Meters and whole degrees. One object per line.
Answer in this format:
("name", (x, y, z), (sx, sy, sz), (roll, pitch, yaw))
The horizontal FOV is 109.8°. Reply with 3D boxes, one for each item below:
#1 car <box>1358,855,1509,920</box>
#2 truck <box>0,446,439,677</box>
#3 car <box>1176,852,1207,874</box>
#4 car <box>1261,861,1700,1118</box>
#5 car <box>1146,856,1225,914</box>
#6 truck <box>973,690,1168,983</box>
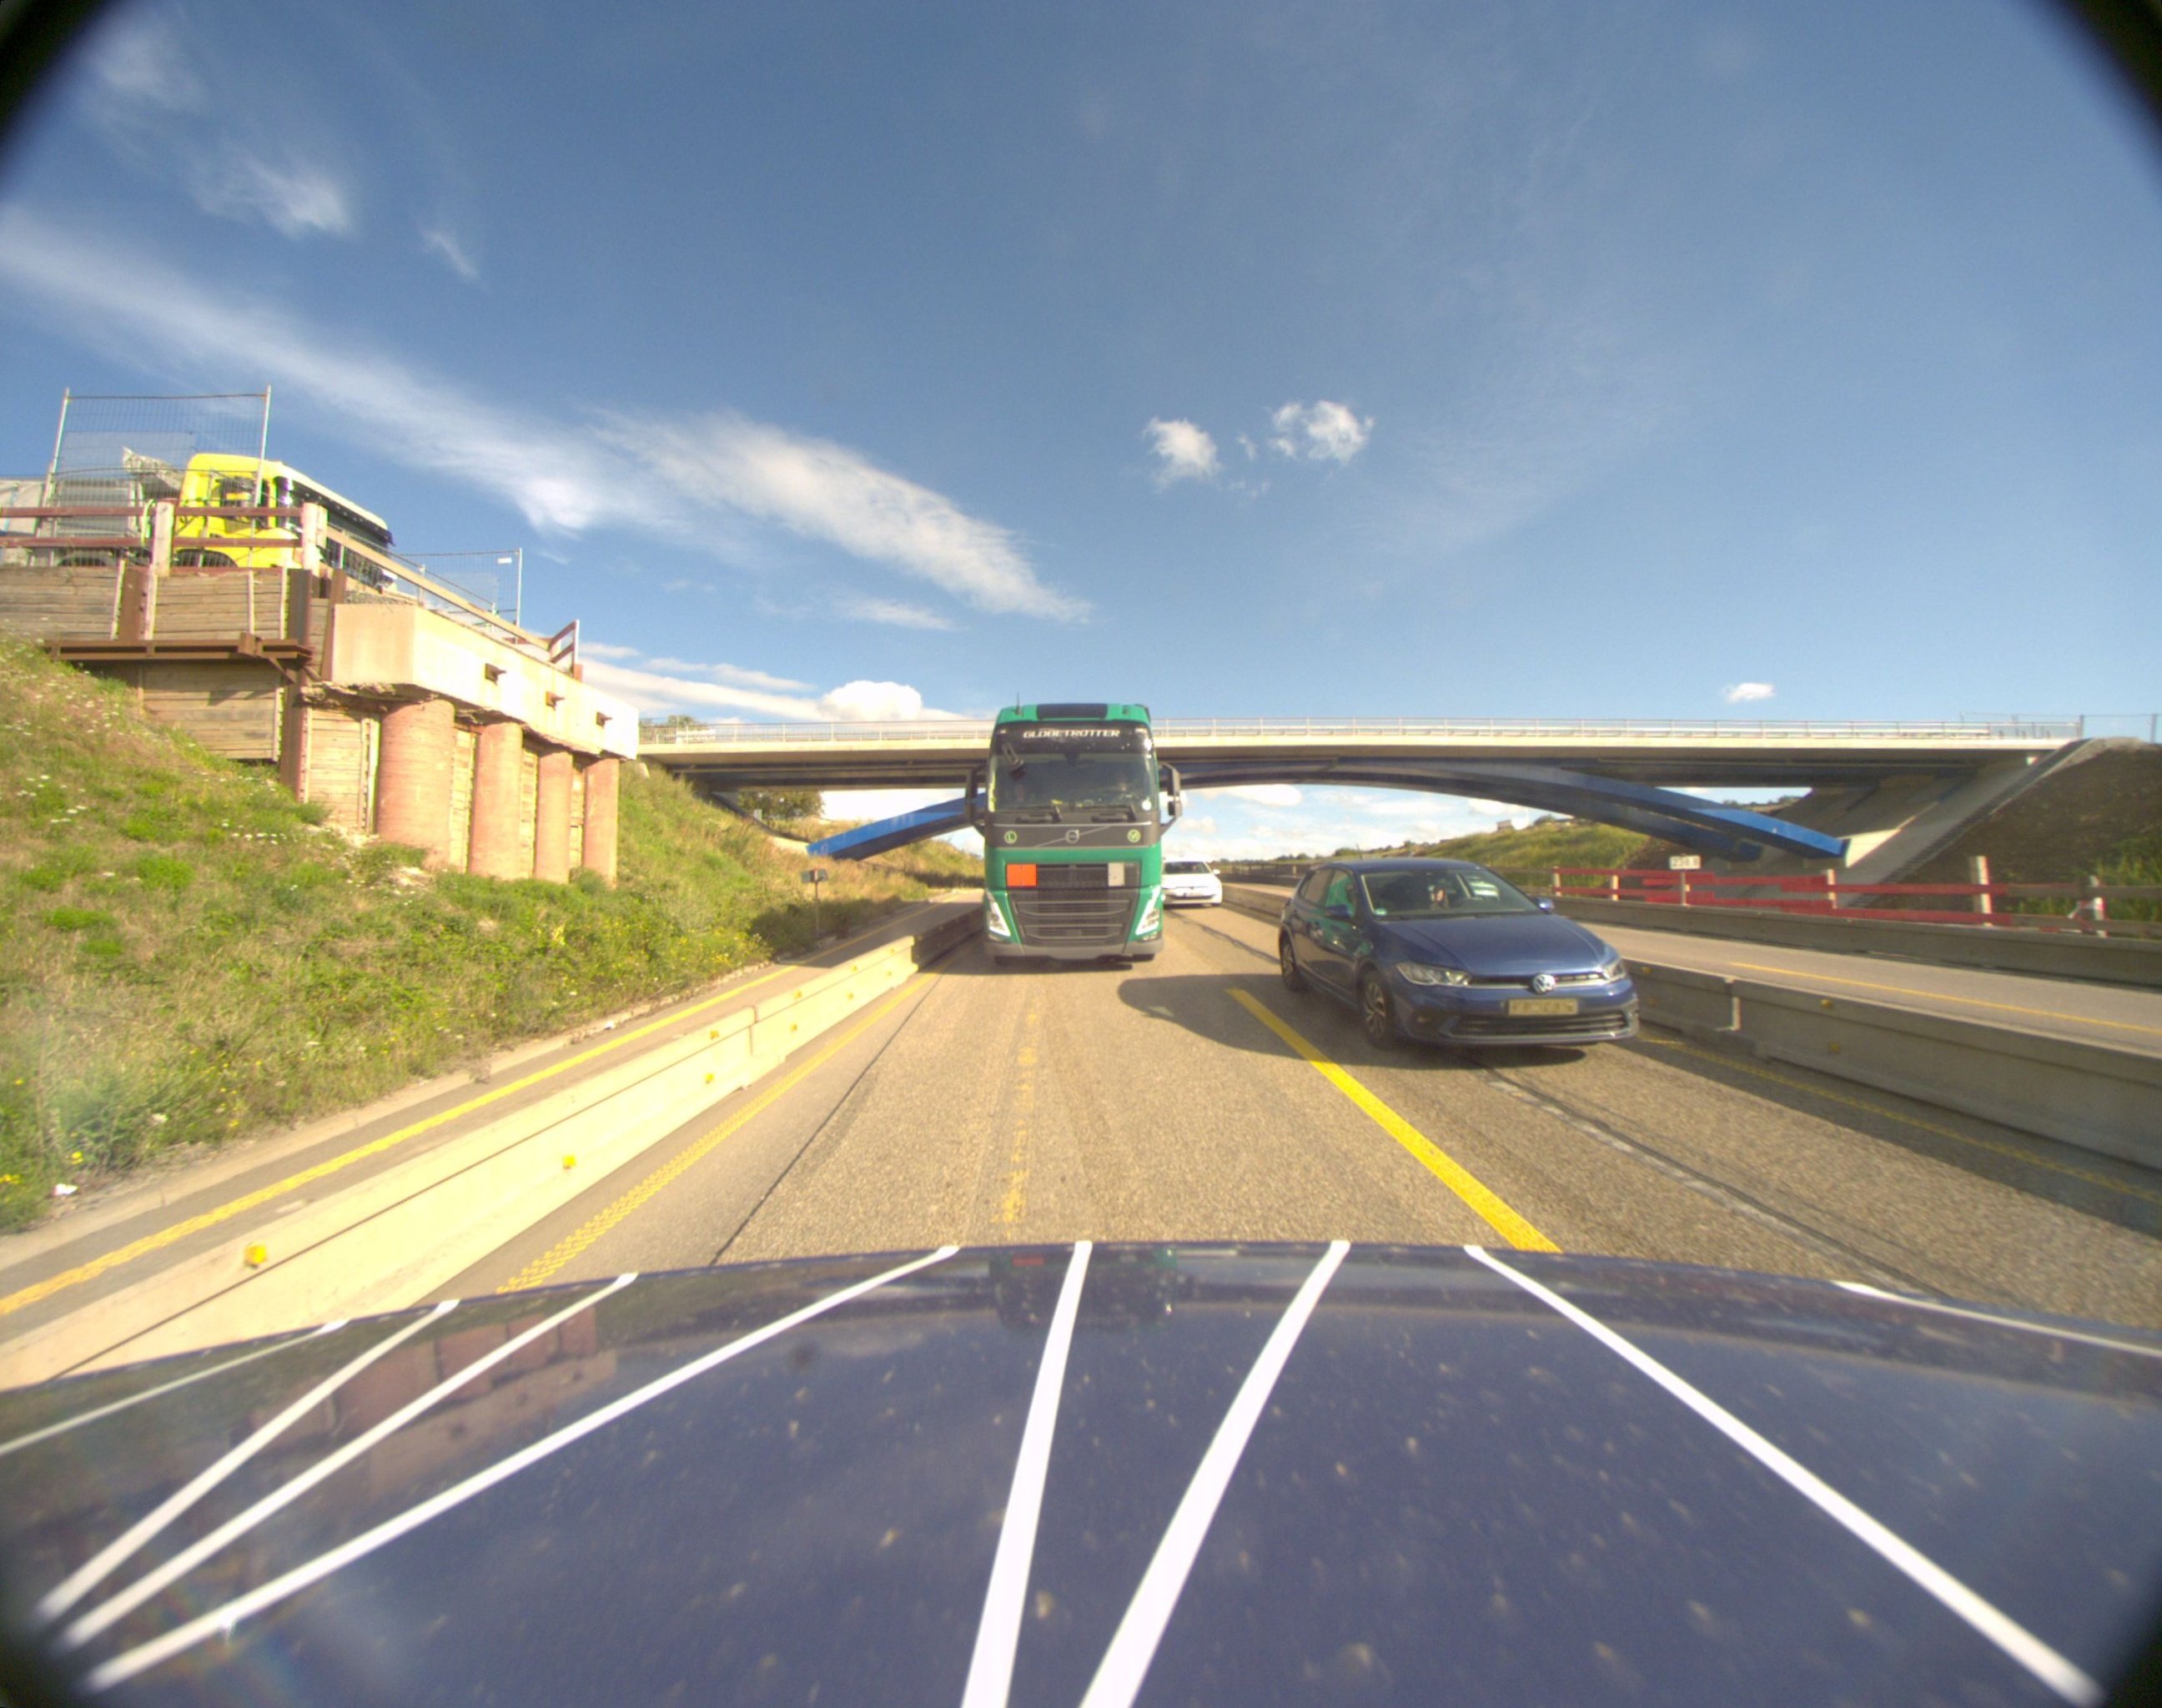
("car", (9.000, 0.783, 19.883), (1.738, 1.417, 4.627), (1, 0, -1))
("truck", (-18.375, -5.425, 14.632), (9.288, 3.209, 2.959), (-1, 0, -2))
("car", (8.932, 0.713, 61.807), (1.738, 1.649, 4.217), (1, 0, -1))
("car", (2.970, 0.864, 6.729), (1.719, 1.499, 3.999), (-2, 0, -1))
("car", (3.046, 0.854, 22.910), (1.825, 1.487, 4.374), (-2, 0, 1))
("truck", (-0.118, -0.235, 14.397), (2.546, 3.899, 8.279), (-1, 0, 0))
